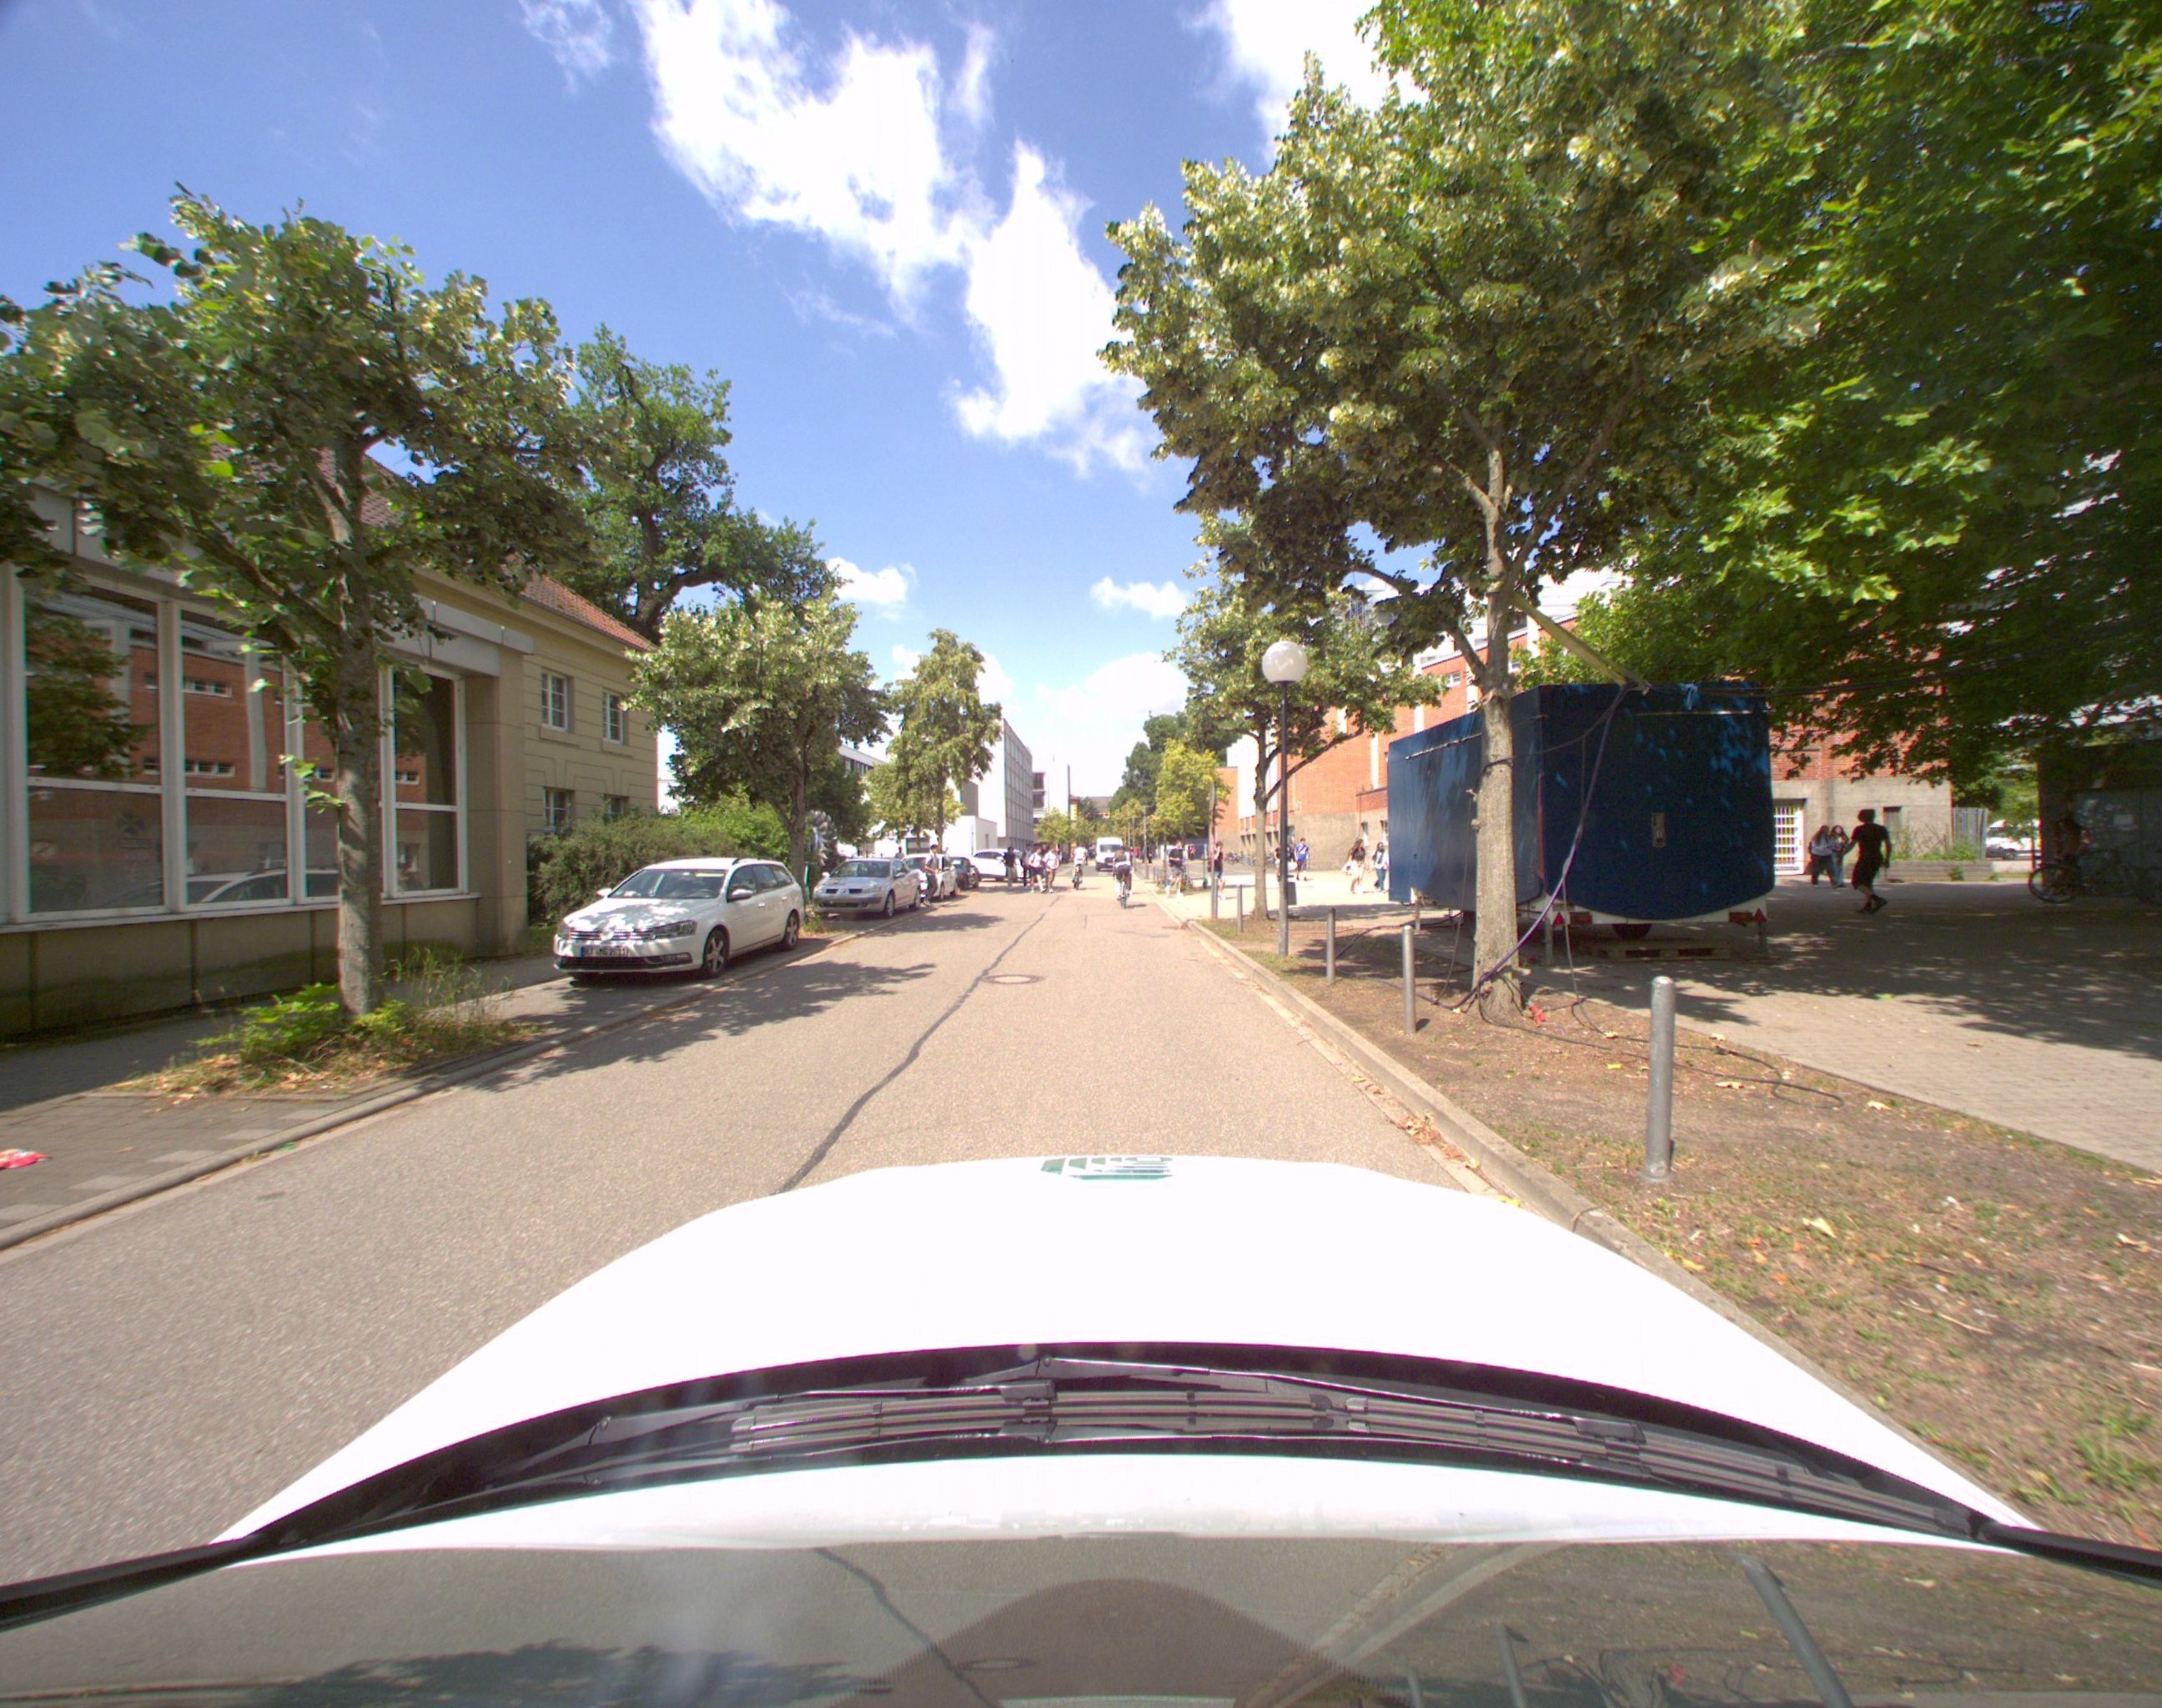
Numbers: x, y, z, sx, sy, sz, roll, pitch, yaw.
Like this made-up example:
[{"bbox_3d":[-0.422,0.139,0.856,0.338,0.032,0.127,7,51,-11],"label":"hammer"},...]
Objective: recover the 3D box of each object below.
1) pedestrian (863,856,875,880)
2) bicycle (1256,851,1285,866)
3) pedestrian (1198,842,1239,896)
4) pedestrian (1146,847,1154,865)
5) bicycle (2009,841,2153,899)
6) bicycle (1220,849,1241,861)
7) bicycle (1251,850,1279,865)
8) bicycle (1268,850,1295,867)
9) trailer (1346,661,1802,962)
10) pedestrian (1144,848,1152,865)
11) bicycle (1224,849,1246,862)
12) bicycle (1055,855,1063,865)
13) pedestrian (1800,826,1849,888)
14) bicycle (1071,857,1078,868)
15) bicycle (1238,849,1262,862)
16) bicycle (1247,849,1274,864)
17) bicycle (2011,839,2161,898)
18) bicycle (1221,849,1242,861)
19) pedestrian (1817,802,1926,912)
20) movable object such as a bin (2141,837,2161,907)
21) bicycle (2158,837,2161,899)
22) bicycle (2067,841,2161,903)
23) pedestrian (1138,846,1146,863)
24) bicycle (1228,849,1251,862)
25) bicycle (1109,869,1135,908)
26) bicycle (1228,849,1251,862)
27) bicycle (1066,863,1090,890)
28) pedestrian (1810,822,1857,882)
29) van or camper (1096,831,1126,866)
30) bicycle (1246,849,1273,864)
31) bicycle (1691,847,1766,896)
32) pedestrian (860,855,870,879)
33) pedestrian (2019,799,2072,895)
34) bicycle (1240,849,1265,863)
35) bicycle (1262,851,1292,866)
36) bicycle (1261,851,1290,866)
[{"bbox_3d":[-15.759,1.013,60.478,0.690,1.749,0.637,-1,0,2],"label":"pedestrian"},{"bbox_3d":[13.009,0.287,56.002,1.803,0.912,0.560,-3,0,0],"label":"bicycle"},{"bbox_3d":[4.204,0.461,24.913,0.855,1.595,0.820,-3,1,-42],"label":"pedestrian"},{"bbox_3d":[7.552,0.229,88.726,0.787,1.860,1.026,-2,0,3],"label":"pedestrian"},{"bbox_3d":[21.059,0.319,17.218,0.571,1.140,2.027,-1,0,1],"label":"bicycle"},{"bbox_3d":[13.538,0.089,73.666,1.803,0.985,0.560,-3,0,0],"label":"bicycle"},{"bbox_3d":[13.103,0.219,57.960,1.803,0.985,0.560,-3,0,0],"label":"bicycle"},{"bbox_3d":[12.754,0.295,51.812,1.529,1.033,0.560,-2,0,0],"label":"bicycle"},{"bbox_3d":[6.198,-0.460,11.683,2.683,3.051,6.257,-3,0,0],"label":"trailer"},{"bbox_3d":[7.542,0.320,91.259,0.787,1.860,1.026,-2,0,3],"label":"pedestrian"},{"bbox_3d":[13.310,0.123,70.368,1.803,0.985,0.560,-3,0,0],"label":"bicycle"},{"bbox_3d":[-2.123,0.551,77.997,0.675,0.965,2.002,-1,0,-1],"label":"bicycle"},{"bbox_3d":[20.010,0.082,21.928,0.657,1.607,0.678,-2,0,-14],"label":"pedestrian"},{"bbox_3d":[-0.623,0.772,78.935,0.675,0.964,2.002,-1,2,-1],"label":"bicycle"},{"bbox_3d":[13.740,0.127,66.288,1.803,0.985,0.560,-3,0,0],"label":"bicycle"},{"bbox_3d":[13.041,0.203,59.093,1.803,0.985,0.560,-3,0,0],"label":"bicycle"},{"bbox_3d":[19.622,0.273,15.568,2.379,1.072,0.786,-1,-1,14],"label":"bicycle"},{"bbox_3d":[13.440,0.100,72.704,1.803,0.985,0.560,-3,0,0],"label":"bicycle"},{"bbox_3d":[13.402,0.037,13.831,0.957,1.775,0.917,-2,1,-7],"label":"pedestrian"},{"bbox_3d":[16.750,0.268,12.245,0.597,1.071,0.743,-1,-2,2],"label":"movable object such as a bin"},{"bbox_3d":[19.775,0.234,13.488,2.379,1.072,0.786,0,0,13],"label":"bicycle"},{"bbox_3d":[19.548,0.297,14.648,2.383,1.072,0.785,-1,-1,8],"label":"bicycle"},{"bbox_3d":[6.664,0.060,88.803,0.787,1.860,1.244,-2,0,3],"label":"pedestrian"},{"bbox_3d":[13.566,0.148,69.661,1.803,0.985,0.560,-3,0,0],"label":"bicycle"},{"bbox_3d":[1.146,0.949,23.001,0.704,0.993,1.911,-1,1,2],"label":"bicycle"},{"bbox_3d":[13.377,0.132,68.832,1.803,0.985,0.560,-3,0,0],"label":"bicycle"},{"bbox_3d":[-0.095,0.870,32.754,0.805,1.002,2.126,0,1,4],"label":"bicycle"},{"bbox_3d":[20.770,-0.051,22.479,0.657,1.607,0.678,-2,0,-14],"label":"pedestrian"},{"bbox_3d":[2.287,-0.386,60.797,1.984,2.446,4.575,-2,-1,4],"label":"van or camper"},{"bbox_3d":[13.085,0.195,59.654,1.803,0.985,0.560,-3,0,0],"label":"bicycle"},{"bbox_3d":[15.494,0.401,19.479,2.031,1.080,0.616,-1,0,-27],"label":"bicycle"},{"bbox_3d":[-15.815,0.952,59.712,0.549,1.764,0.586,-1,0,2],"label":"pedestrian"},{"bbox_3d":[19.357,-0.137,16.354,0.444,1.883,0.531,-1,0,11],"label":"pedestrian"},{"bbox_3d":[13.571,0.150,64.339,1.803,0.985,0.560,-3,0,0],"label":"bicycle"},{"bbox_3d":[12.949,0.297,53.743,1.803,0.912,0.560,-3,0,0],"label":"bicycle"},{"bbox_3d":[13.049,0.290,54.597,1.803,0.912,0.560,-3,0,0],"label":"bicycle"}]
